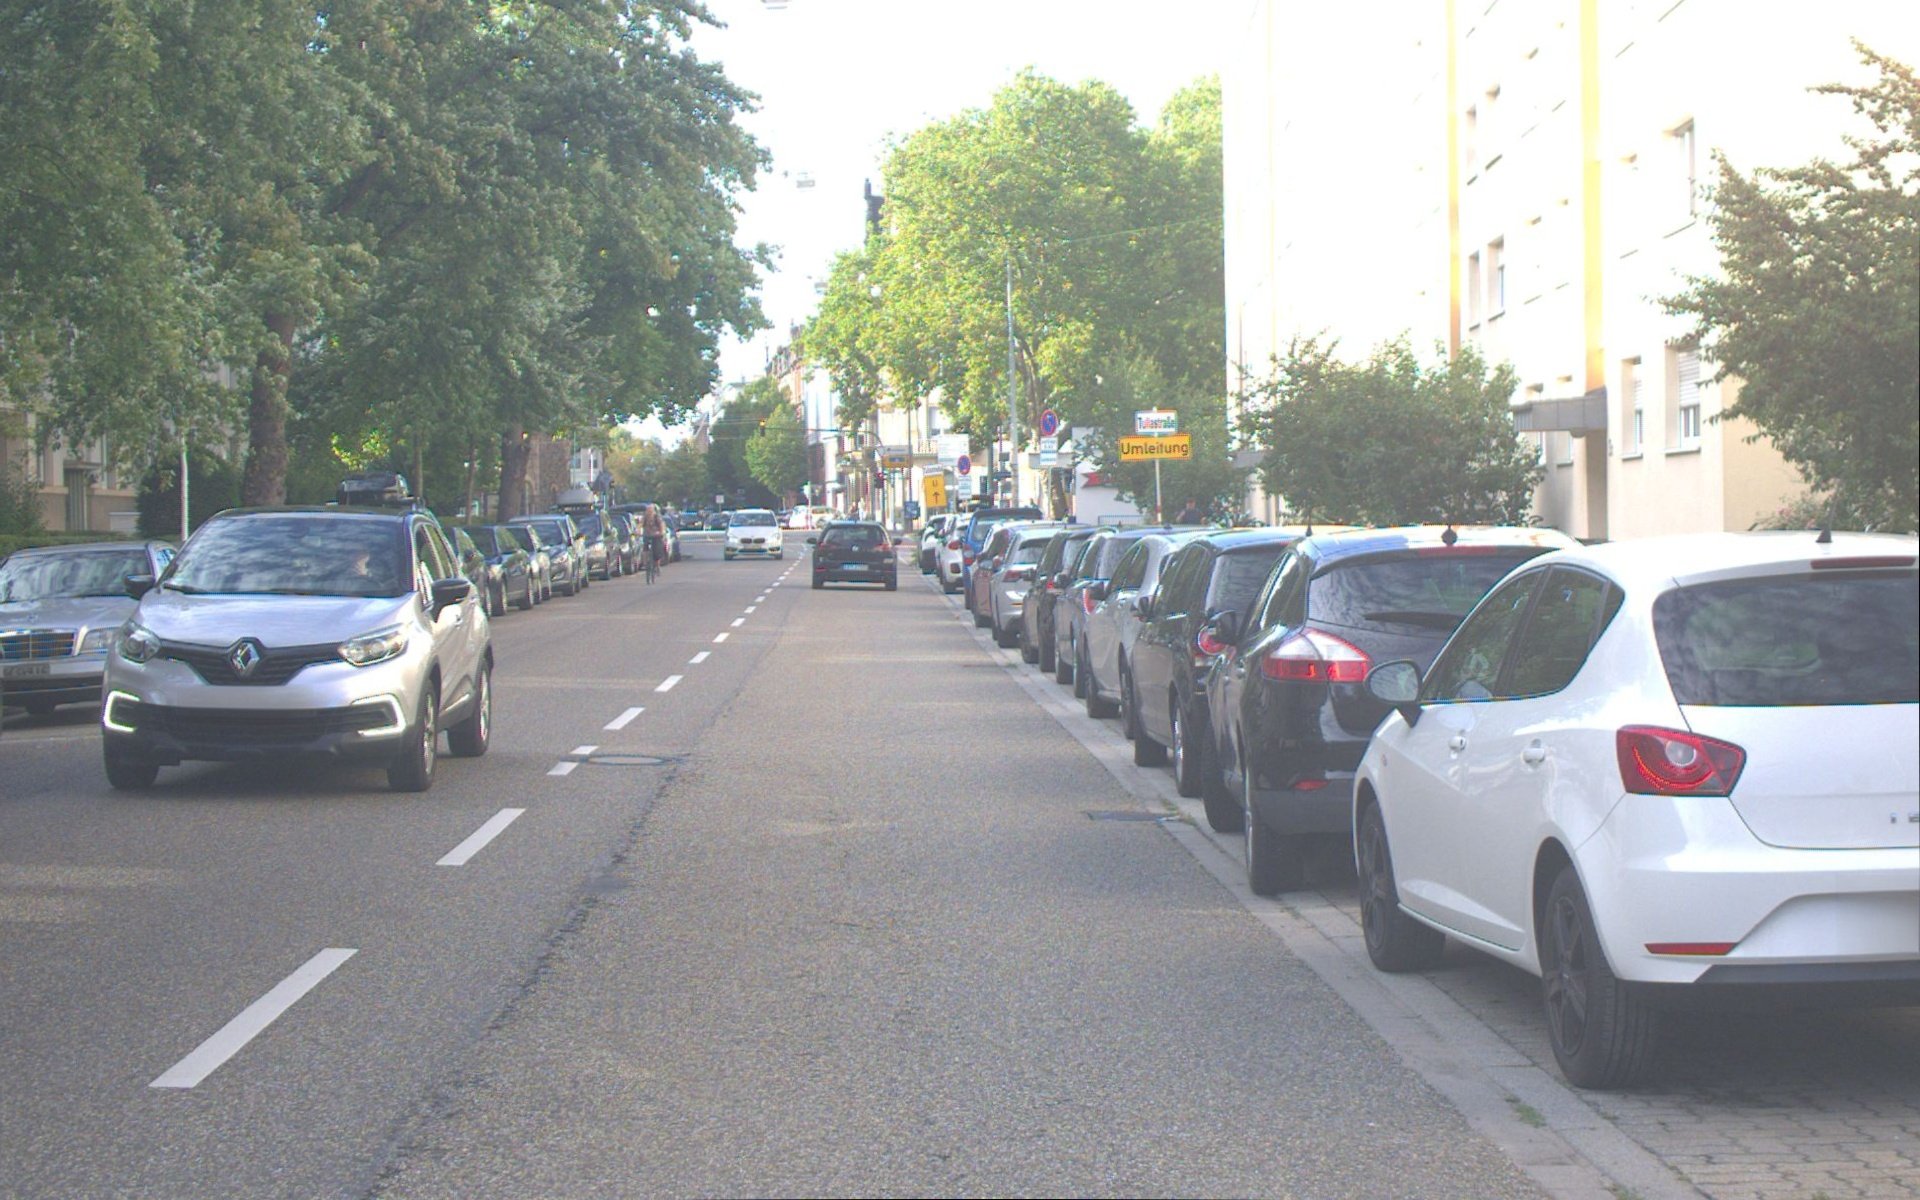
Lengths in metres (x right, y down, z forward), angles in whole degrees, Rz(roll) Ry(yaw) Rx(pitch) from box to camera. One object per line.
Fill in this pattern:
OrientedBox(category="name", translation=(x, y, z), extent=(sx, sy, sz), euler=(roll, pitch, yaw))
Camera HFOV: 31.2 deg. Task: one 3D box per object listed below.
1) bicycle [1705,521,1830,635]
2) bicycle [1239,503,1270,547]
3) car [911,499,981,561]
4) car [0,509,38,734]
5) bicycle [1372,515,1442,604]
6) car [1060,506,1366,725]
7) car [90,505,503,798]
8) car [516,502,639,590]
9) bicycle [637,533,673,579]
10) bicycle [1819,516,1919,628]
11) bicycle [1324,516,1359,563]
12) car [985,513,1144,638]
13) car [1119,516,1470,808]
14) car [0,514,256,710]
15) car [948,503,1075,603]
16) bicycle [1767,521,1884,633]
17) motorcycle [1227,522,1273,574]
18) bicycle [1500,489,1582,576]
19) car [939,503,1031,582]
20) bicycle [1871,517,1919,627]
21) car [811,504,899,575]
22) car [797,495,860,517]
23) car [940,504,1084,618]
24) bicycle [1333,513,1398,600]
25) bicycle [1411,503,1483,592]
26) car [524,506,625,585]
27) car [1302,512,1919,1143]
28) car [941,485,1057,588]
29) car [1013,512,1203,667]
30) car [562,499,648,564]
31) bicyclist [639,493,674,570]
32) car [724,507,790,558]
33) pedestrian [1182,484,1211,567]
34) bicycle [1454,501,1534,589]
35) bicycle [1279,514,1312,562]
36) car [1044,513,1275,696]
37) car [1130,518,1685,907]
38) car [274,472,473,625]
OrientedBox(category="bicycle", translation=(7.815, -0.231, 33.349), extent=(0.593, 1.027, 2.119), euler=(-3, 2, -2))
OrientedBox(category="bicycle", translation=(7.676, -1.974, 89.745), extent=(0.529, 1.111, 2.209), euler=(-2, 2, -1))
OrientedBox(category="car", translation=(-0.347, -1.840, 89.331), extent=(1.690, 1.523, 4.238), euler=(-1, 2, 1))
OrientedBox(category="car", translation=(-7.210, 0.206, 21.426), extent=(1.855, 1.481, 4.685), euler=(-2, 2, -3))
OrientedBox(category="bicycle", translation=(6.790, -0.633, 52.320), extent=(0.604, 1.286, 2.635), euler=(-2, 2, -1))
OrientedBox(category="car", translation=(1.810, 0.047, 25.815), extent=(1.699, 1.458, 4.181), euler=(-2, 2, -4))
OrientedBox(category="car", translation=(-3.717, 0.214, 19.898), extent=(1.740, 1.496, 4.010), euler=(-1, 2, -2))
OrientedBox(category="car", translation=(-7.240, -1.049, 65.427), extent=(1.614, 1.463, 4.014), euler=(-5, 2, 2))
OrientedBox(category="bicycle", translation=(-6.438, -0.937, 72.626), extent=(0.642, 0.920, 1.858), euler=(-1, 1, -1))
OrientedBox(category="bicycle", translation=(8.927, -0.287, 33.474), extent=(0.501, 1.027, 2.069), euler=(-3, 2, -2))
OrientedBox(category="bicycle", translation=(7.824, -1.252, 70.485), extent=(0.458, 0.924, 1.517), euler=(-2, 2, -2))
OrientedBox(category="car", translation=(1.253, -0.339, 42.658), extent=(1.661, 1.411, 4.059), euler=(-2, 1, -2))
OrientedBox(category="car", translation=(1.882, 0.285, 20.341), extent=(1.683, 1.496, 3.874), euler=(-1, 2, 0))
OrientedBox(category="car", translation=(-7.076, 0.049, 28.252), extent=(1.738, 1.388, 4.667), euler=(-3, 2, -2))
OrientedBox(category="car", translation=(0.767, -0.765, 53.997), extent=(1.728, 1.456, 4.117), euler=(-2, 2, -2))
OrientedBox(category="bicycle", translation=(8.407, -0.240, 33.467), extent=(0.501, 1.027, 2.096), euler=(-3, 2, -2))
OrientedBox(category="motorcycle", translation=(5.941, -1.074, 70.467), extent=(0.630, 1.041, 2.394), euler=(0, 1, -3))
OrientedBox(category="bicycle", translation=(8.837, -1.041, 52.401), extent=(0.726, 1.286, 2.635), euler=(0, 1, -1))
OrientedBox(category="car", translation=(0.466, -1.180, 68.768), extent=(1.728, 1.482, 4.642), euler=(-2, 2, 0))
OrientedBox(category="bicycle", translation=(9.442, -0.275, 33.467), extent=(0.501, 1.027, 2.026), euler=(-3, 2, -2))
OrientedBox(category="car", translation=(-2.212, -1.283, 71.491), extent=(1.751, 1.408, 4.001), euler=(0, 2, -3))
OrientedBox(category="car", translation=(-8.806, -6.277, 230.054), extent=(3.986, 1.415, 2.001), euler=(-1, 2, -8))
OrientedBox(category="car", translation=(0.704, -0.591, 49.396), extent=(1.728, 1.510, 4.192), euler=(-2, 2, -3))
OrientedBox(category="bicycle", translation=(6.153, -0.677, 52.289), extent=(0.604, 1.286, 2.635), euler=(-1, 1, -1))
OrientedBox(category="bicycle", translation=(7.393, -0.812, 52.308), extent=(0.595, 1.286, 2.635), euler=(-3, 2, -1))
OrientedBox(category="car", translation=(-8.848, -1.279, 79.162), extent=(1.799, 1.662, 4.483), euler=(-3, 2, -1))
OrientedBox(category="car", translation=(2.206, 0.494, 10.428), extent=(1.683, 1.463, 4.207), euler=(-2, 2, -3))
OrientedBox(category="car", translation=(0.635, -1.100, 58.750), extent=(1.728, 1.644, 4.117), euler=(-2, 2, -2))
OrientedBox(category="car", translation=(1.507, -0.159, 36.333), extent=(1.661, 1.486, 3.942), euler=(-2, 1, -2))
OrientedBox(category="car", translation=(-8.705, -1.700, 84.586), extent=(1.700, 1.481, 3.848), euler=(-3, 2, -1))
OrientedBox(category="bicyclist", translation=(-6.397, -1.452, 72.569), extent=(0.641, 1.595, 0.990), euler=(-1, 1, -1))
OrientedBox(category="car", translation=(-6.329, -2.113, 107.302), extent=(1.859, 1.523, 4.011), euler=(0, 2, -1))
OrientedBox(category="pedestrian", translation=(4.924, -1.556, 71.595), extent=(0.542, 1.715, 0.771), euler=(-1, 1, 4))
OrientedBox(category="bicycle", translation=(8.117, -0.855, 52.326), extent=(0.726, 1.286, 2.635), euler=(-1, 2, -1))
OrientedBox(category="bicycle", translation=(6.870, -1.279, 70.428), extent=(0.458, 0.938, 1.517), euler=(-2, 2, -2))
OrientedBox(category="car", translation=(1.736, -0.015, 31.140), extent=(1.683, 1.480, 4.294), euler=(-2, 2, -2))
OrientedBox(category="car", translation=(1.837, 0.381, 15.365), extent=(1.683, 1.430, 4.207), euler=(-2, 2, -3))
OrientedBox(category="car", translation=(-7.546, -0.710, 44.690), extent=(1.877, 1.786, 4.971), euler=(-3, 2, -3))
